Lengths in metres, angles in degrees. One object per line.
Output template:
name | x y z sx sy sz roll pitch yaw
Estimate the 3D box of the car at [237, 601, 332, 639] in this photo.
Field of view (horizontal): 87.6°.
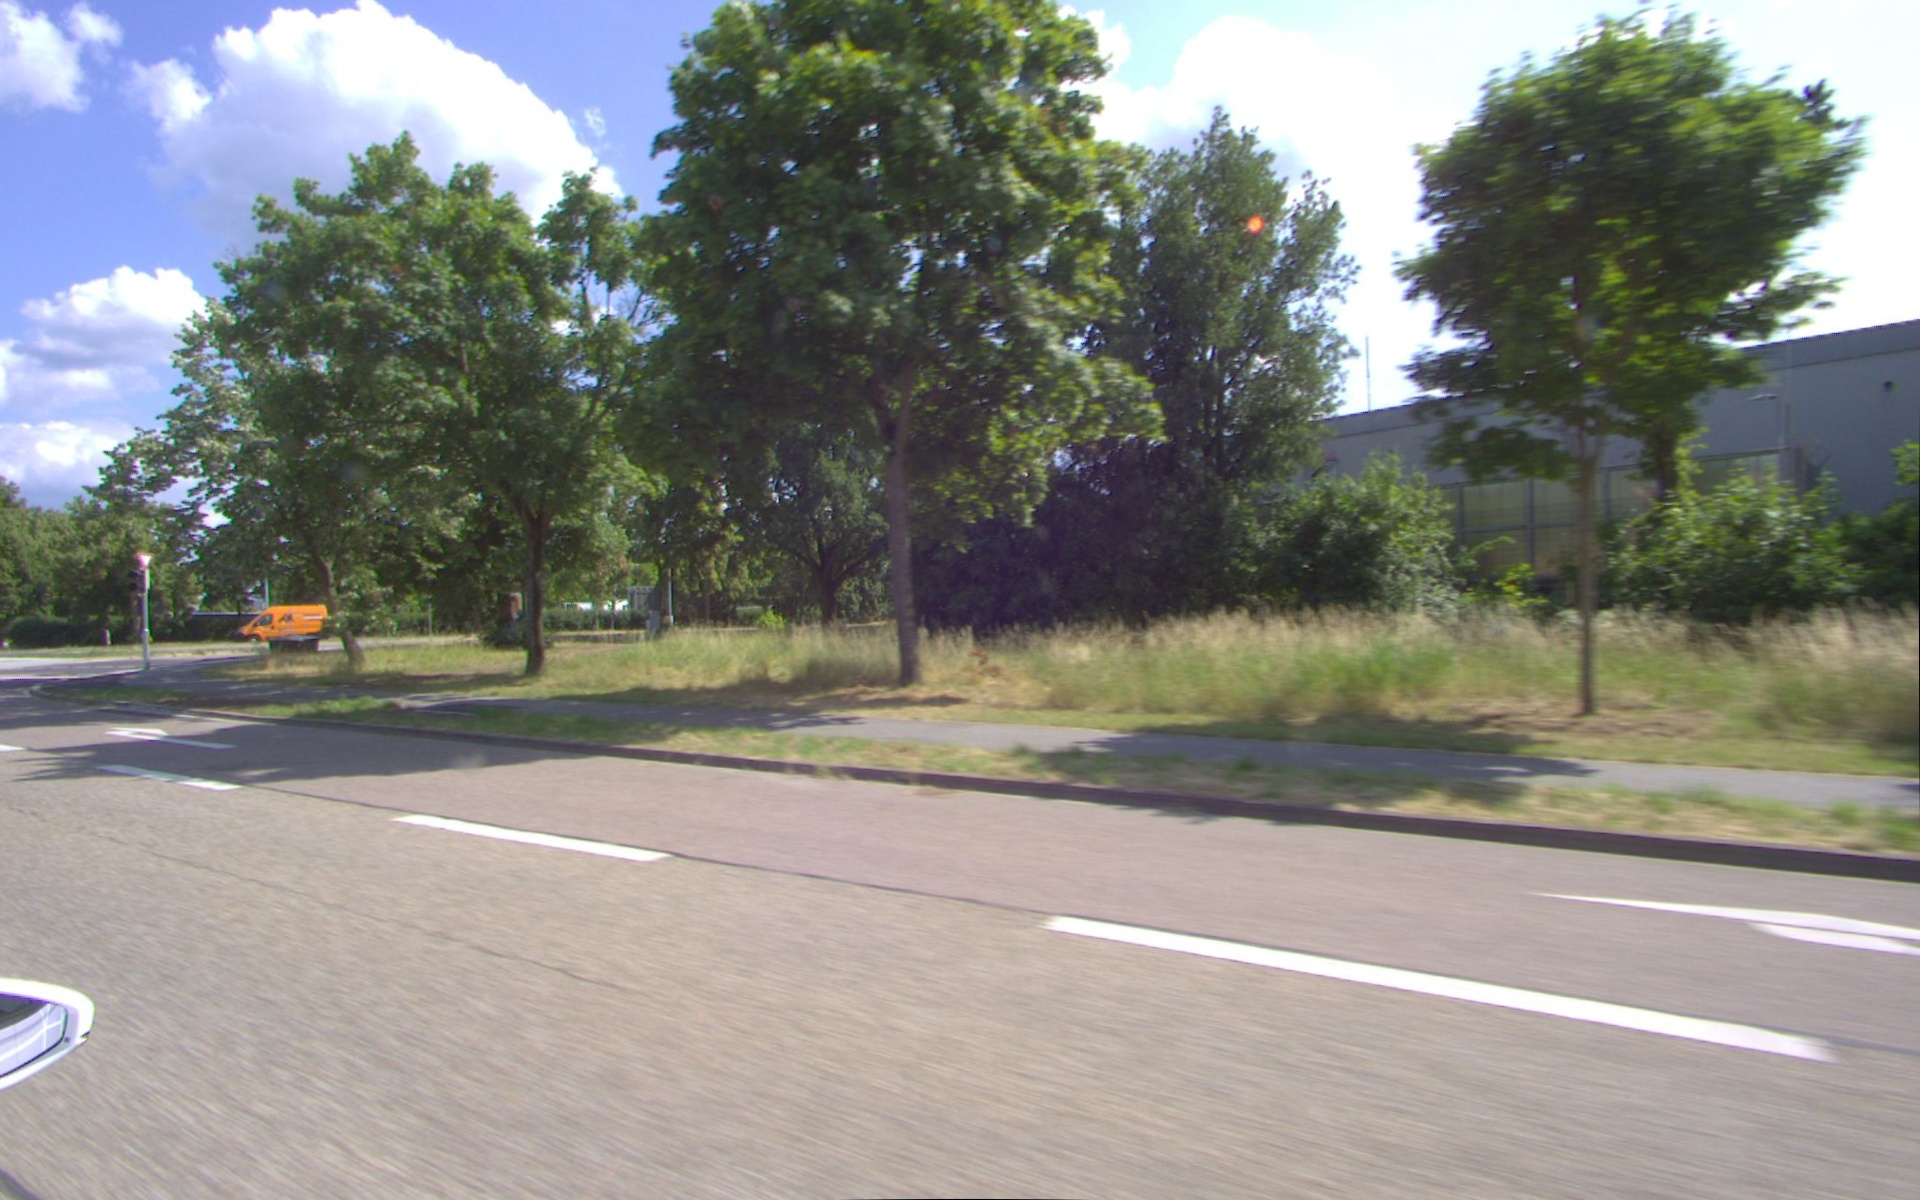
car | -42.626 1.296 63.255 4.807 2.253 2.194 2 -3 -40
